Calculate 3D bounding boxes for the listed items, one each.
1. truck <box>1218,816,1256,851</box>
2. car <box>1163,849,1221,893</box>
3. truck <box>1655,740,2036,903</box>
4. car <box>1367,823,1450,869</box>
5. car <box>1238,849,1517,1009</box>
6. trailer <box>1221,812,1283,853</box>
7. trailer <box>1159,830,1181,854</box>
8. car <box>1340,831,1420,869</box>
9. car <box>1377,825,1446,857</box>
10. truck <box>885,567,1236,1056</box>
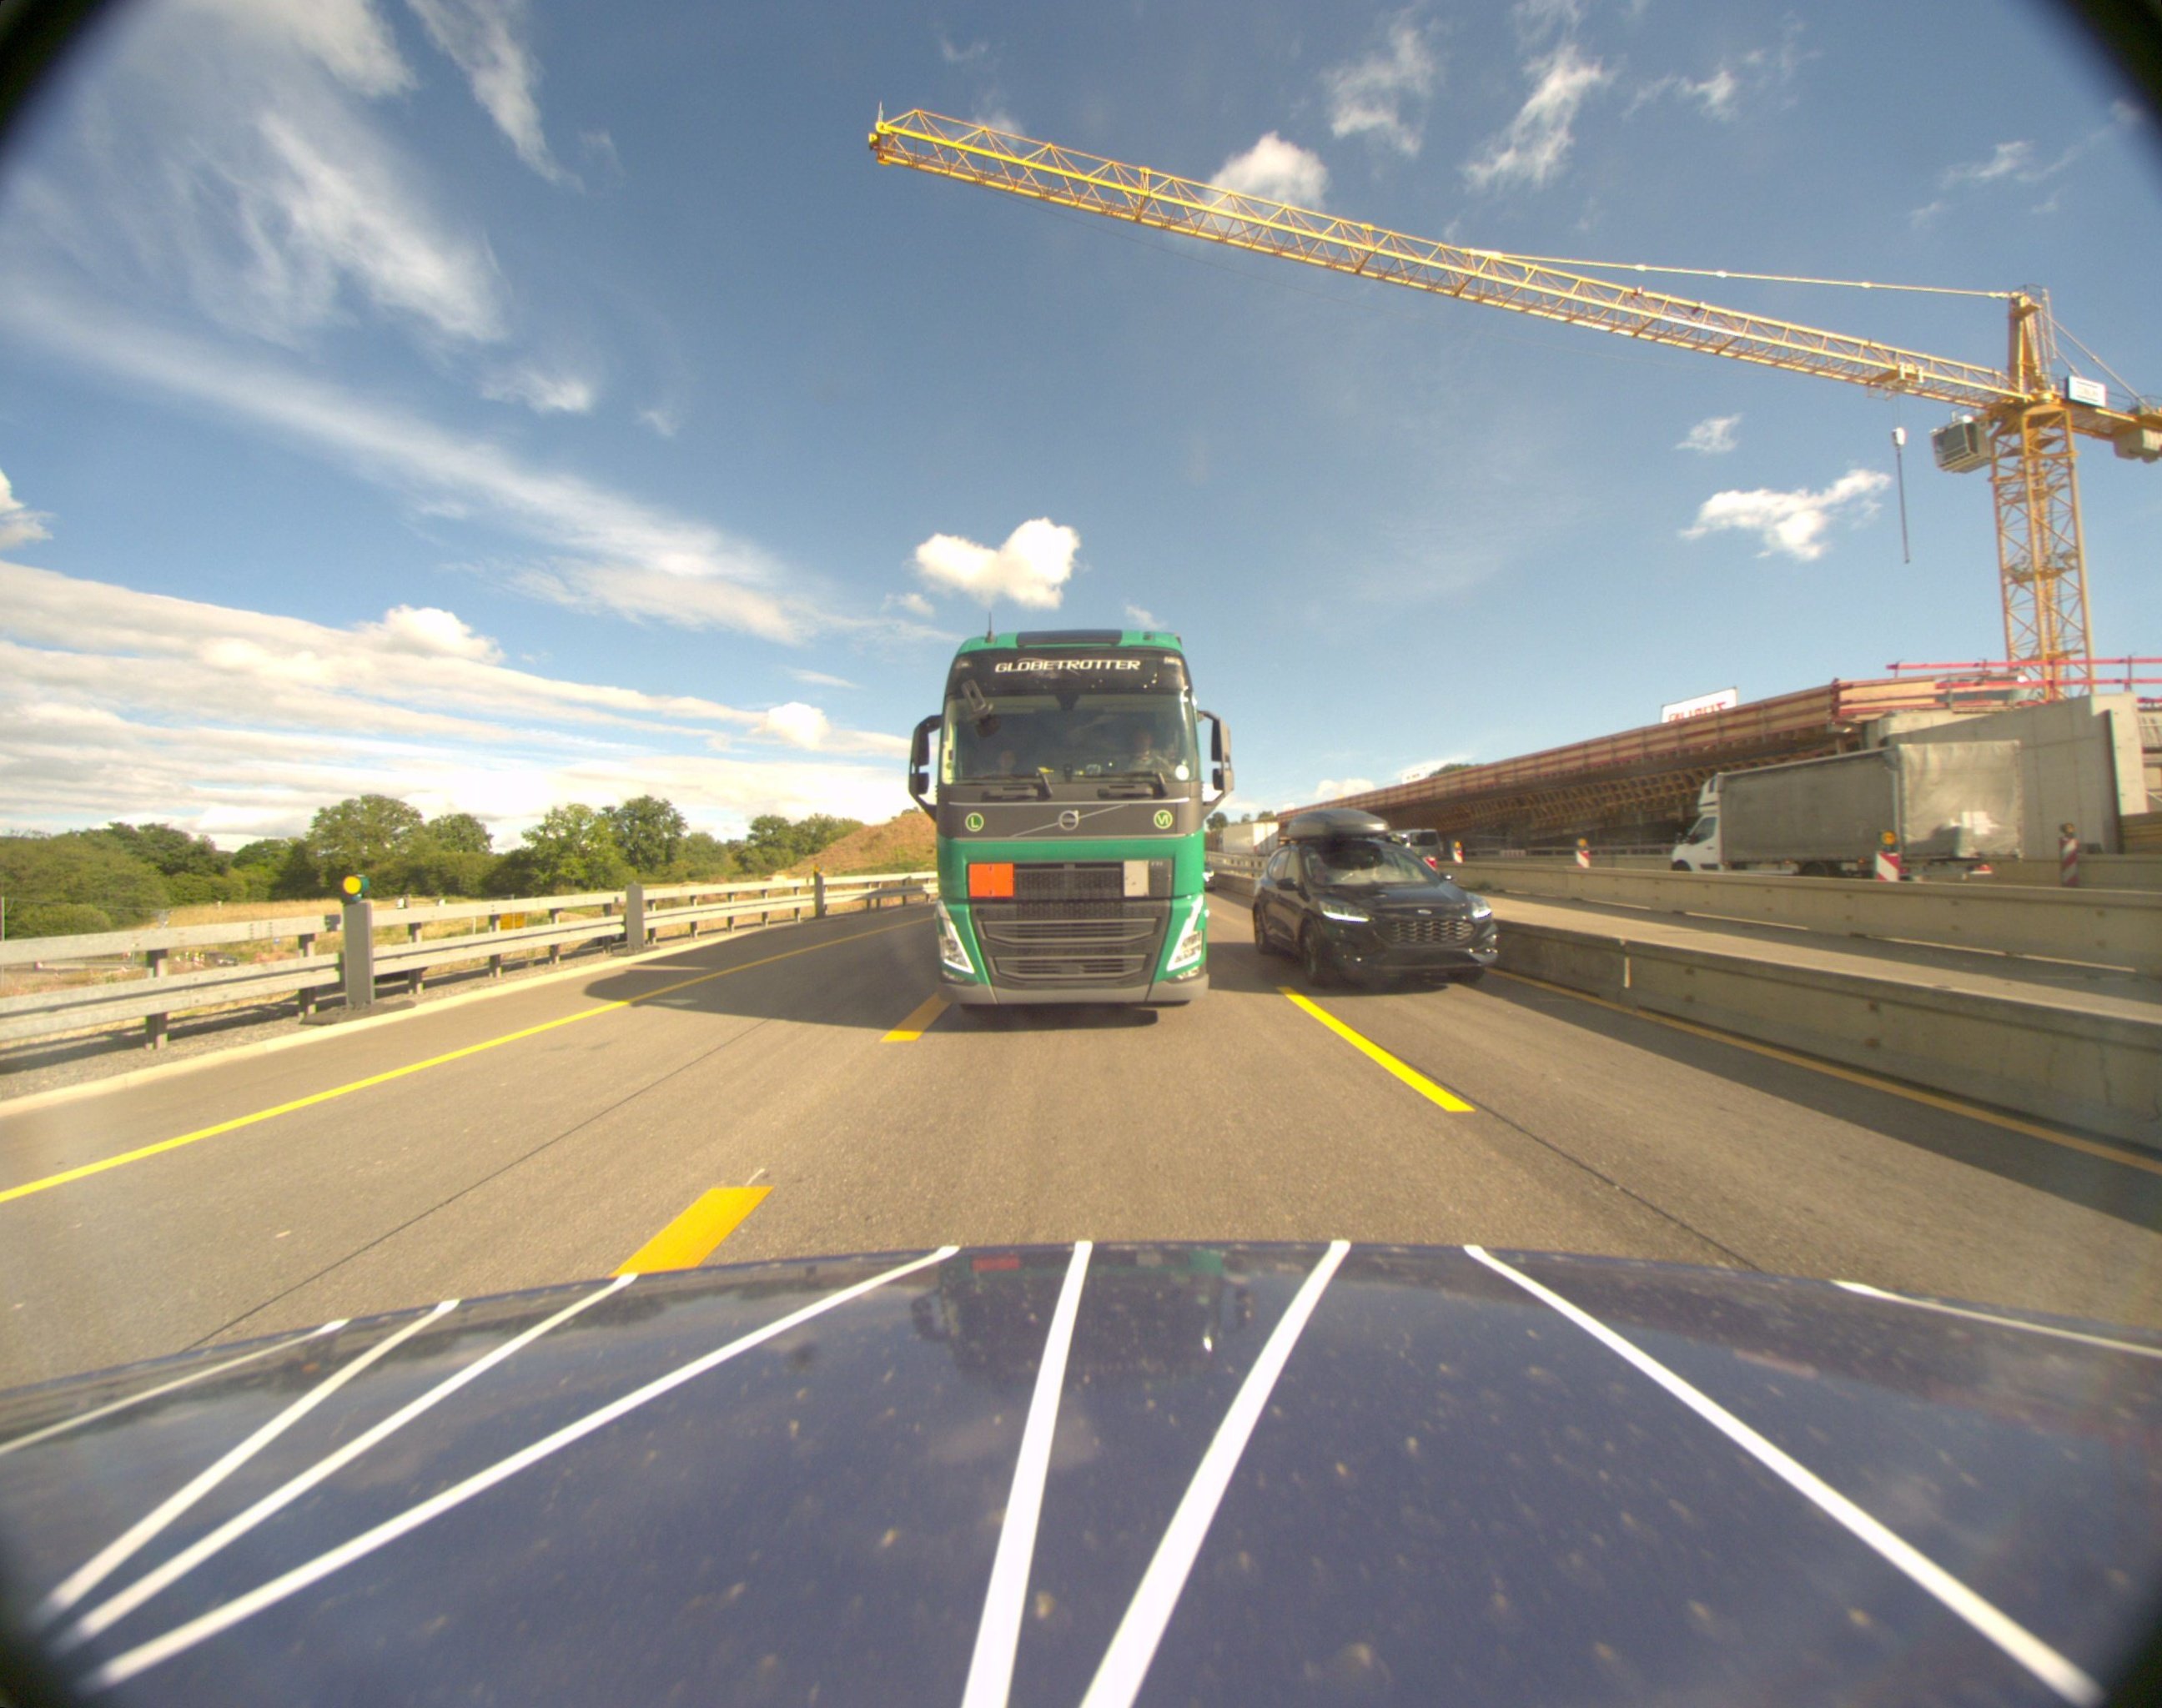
[{"bbox_3d":[17.500,-2.273,85.769,2.784,3.767,6.016,-2,1,-1],"label":"truck"},{"bbox_3d":[4.190,0.597,29.334,1.948,1.422,4.505,-1,1,5],"label":"car"},{"bbox_3d":[18.822,-0.749,19.660,2.706,3.293,7.538,-2,1,5],"label":"truck"},{"bbox_3d":[18.857,-0.474,44.129,2.264,2.389,5.866,-2,1,0],"label":"car"},{"bbox_3d":[3.316,0.743,9.531,1.804,1.533,4.384,-1,0,1],"label":"car"},{"bbox_3d":[17.663,-2.194,79.661,2.828,3.819,13.798,-2,1,-2],"label":"trailer"},{"bbox_3d":[16.491,-2.327,141.590,2.694,4.132,13.810,-2,1,2],"label":"trailer"},{"bbox_3d":[15.511,-0.208,39.747,2.131,1.755,5.031,-3,0,1],"label":"car"},{"bbox_3d":[19.271,-0.700,44.554,2.131,1.664,4.272,-3,0,1],"label":"car"},{"bbox_3d":[-0.153,-0.421,11.271,2.663,3.825,10.315,-2,1,0],"label":"truck"}]
